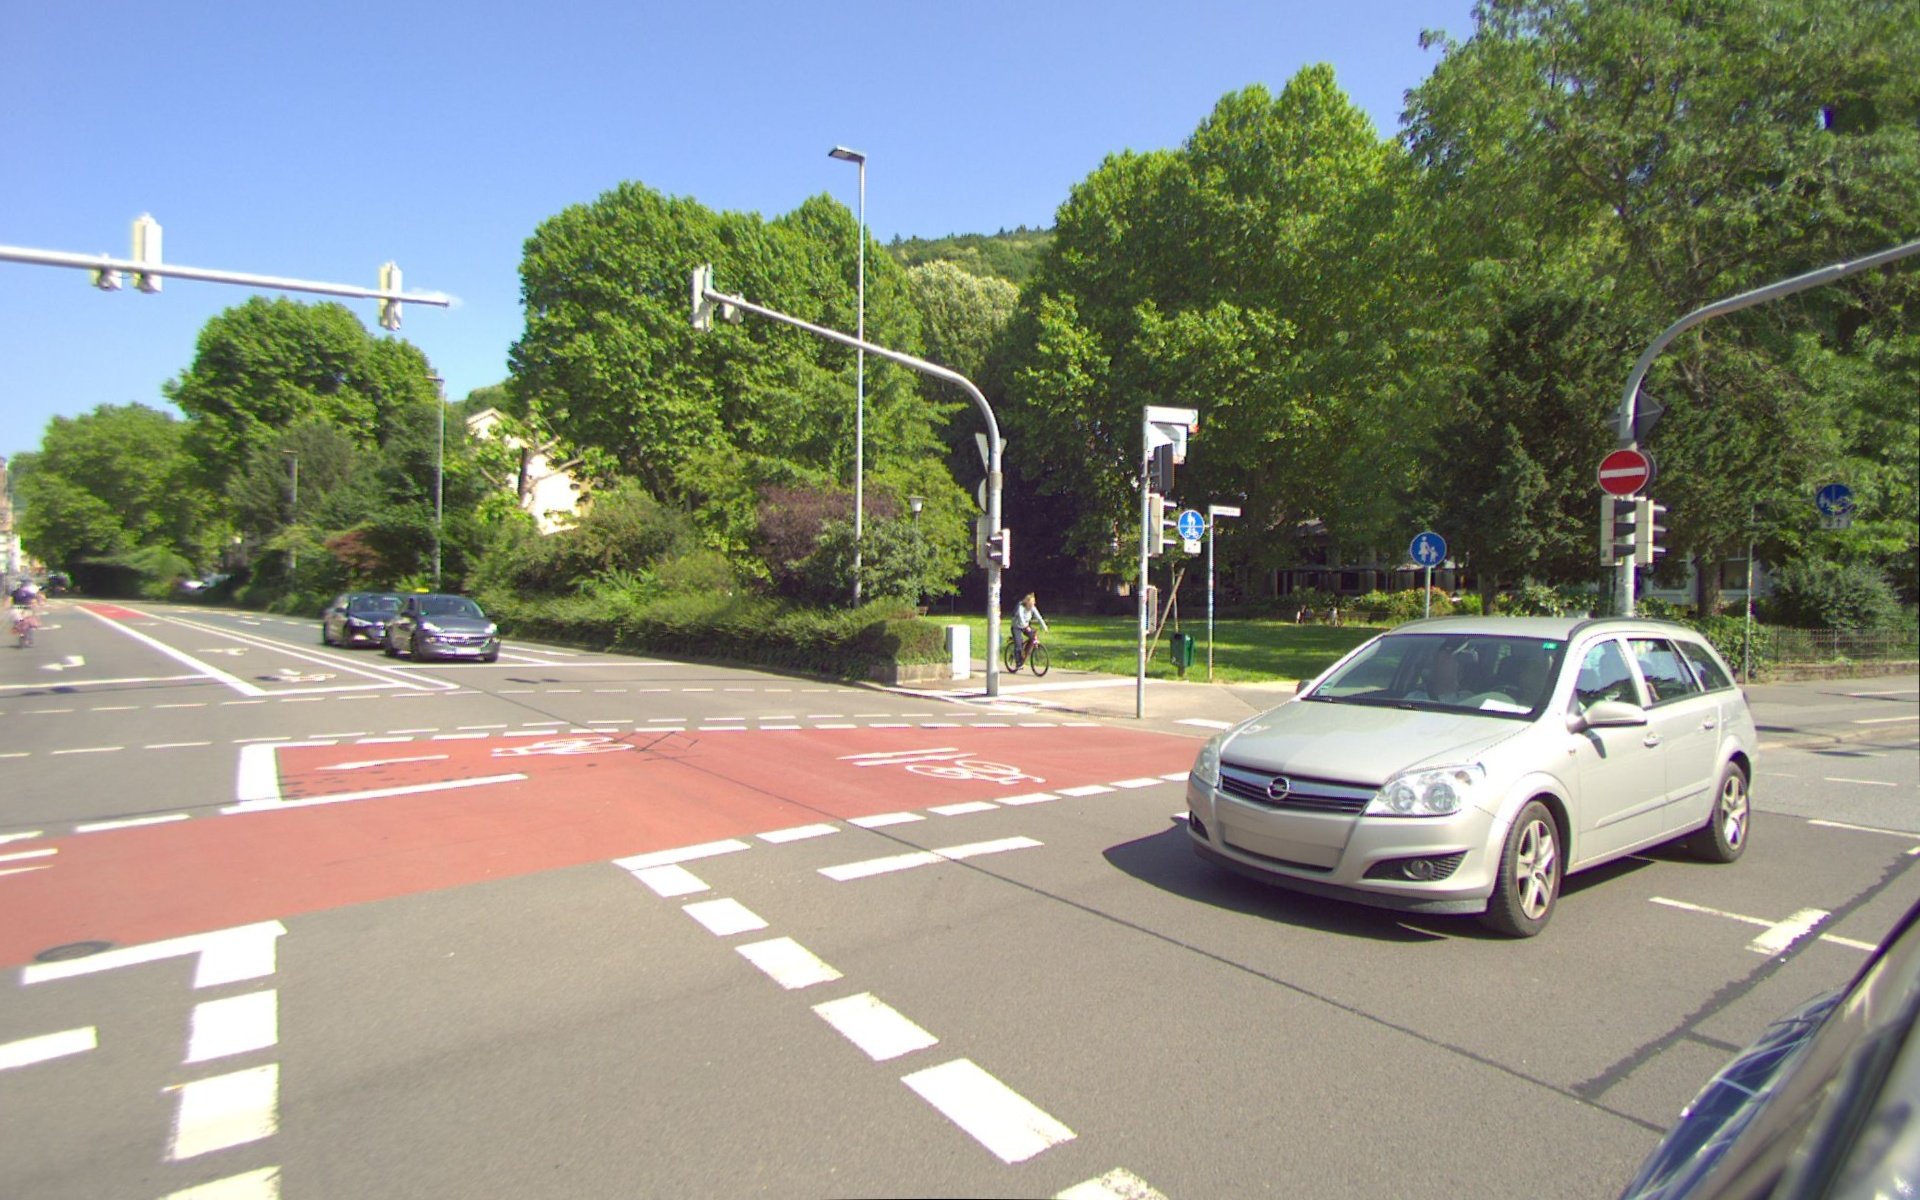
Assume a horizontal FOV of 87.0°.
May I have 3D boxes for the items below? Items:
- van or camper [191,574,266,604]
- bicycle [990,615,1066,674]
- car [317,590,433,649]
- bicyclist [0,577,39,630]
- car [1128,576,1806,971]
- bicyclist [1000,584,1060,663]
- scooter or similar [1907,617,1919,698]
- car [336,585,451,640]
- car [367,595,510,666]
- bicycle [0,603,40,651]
[{"bbox_3d":[-74.769,-1.122,103.502,5.802,2.941,2.387,0,0,-5],"label":"van or camper"},{"bbox_3d":[1.399,0.898,21.107,0.768,1.134,1.679,0,1,-32],"label":"bicycle"},{"bbox_3d":[-15.371,0.465,26.504,1.827,1.380,4.089,2,0,-42],"label":"car"},{"bbox_3d":[-24.268,0.081,26.073,0.769,1.324,0.941,-1,1,-44],"label":"bicyclist"},{"bbox_3d":[3.144,0.685,5.914,4.322,1.541,1.713,0,0,-35],"label":"car"},{"bbox_3d":[1.458,0.468,21.074,0.851,1.594,0.944,-1,1,-33],"label":"bicyclist"},{"bbox_3d":[16.586,0.940,16.639,1.660,1.314,0.823,-1,1,-20],"label":"scooter or similar"},{"bbox_3d":[-17.858,0.367,32.161,2.021,1.603,4.755,0,0,-14],"label":"car"},{"bbox_3d":[-11.703,0.621,22.577,1.827,1.380,4.089,2,0,-42],"label":"car"},{"bbox_3d":[-24.268,0.680,26.079,0.752,1.134,2.116,-1,2,-44],"label":"bicycle"}]
